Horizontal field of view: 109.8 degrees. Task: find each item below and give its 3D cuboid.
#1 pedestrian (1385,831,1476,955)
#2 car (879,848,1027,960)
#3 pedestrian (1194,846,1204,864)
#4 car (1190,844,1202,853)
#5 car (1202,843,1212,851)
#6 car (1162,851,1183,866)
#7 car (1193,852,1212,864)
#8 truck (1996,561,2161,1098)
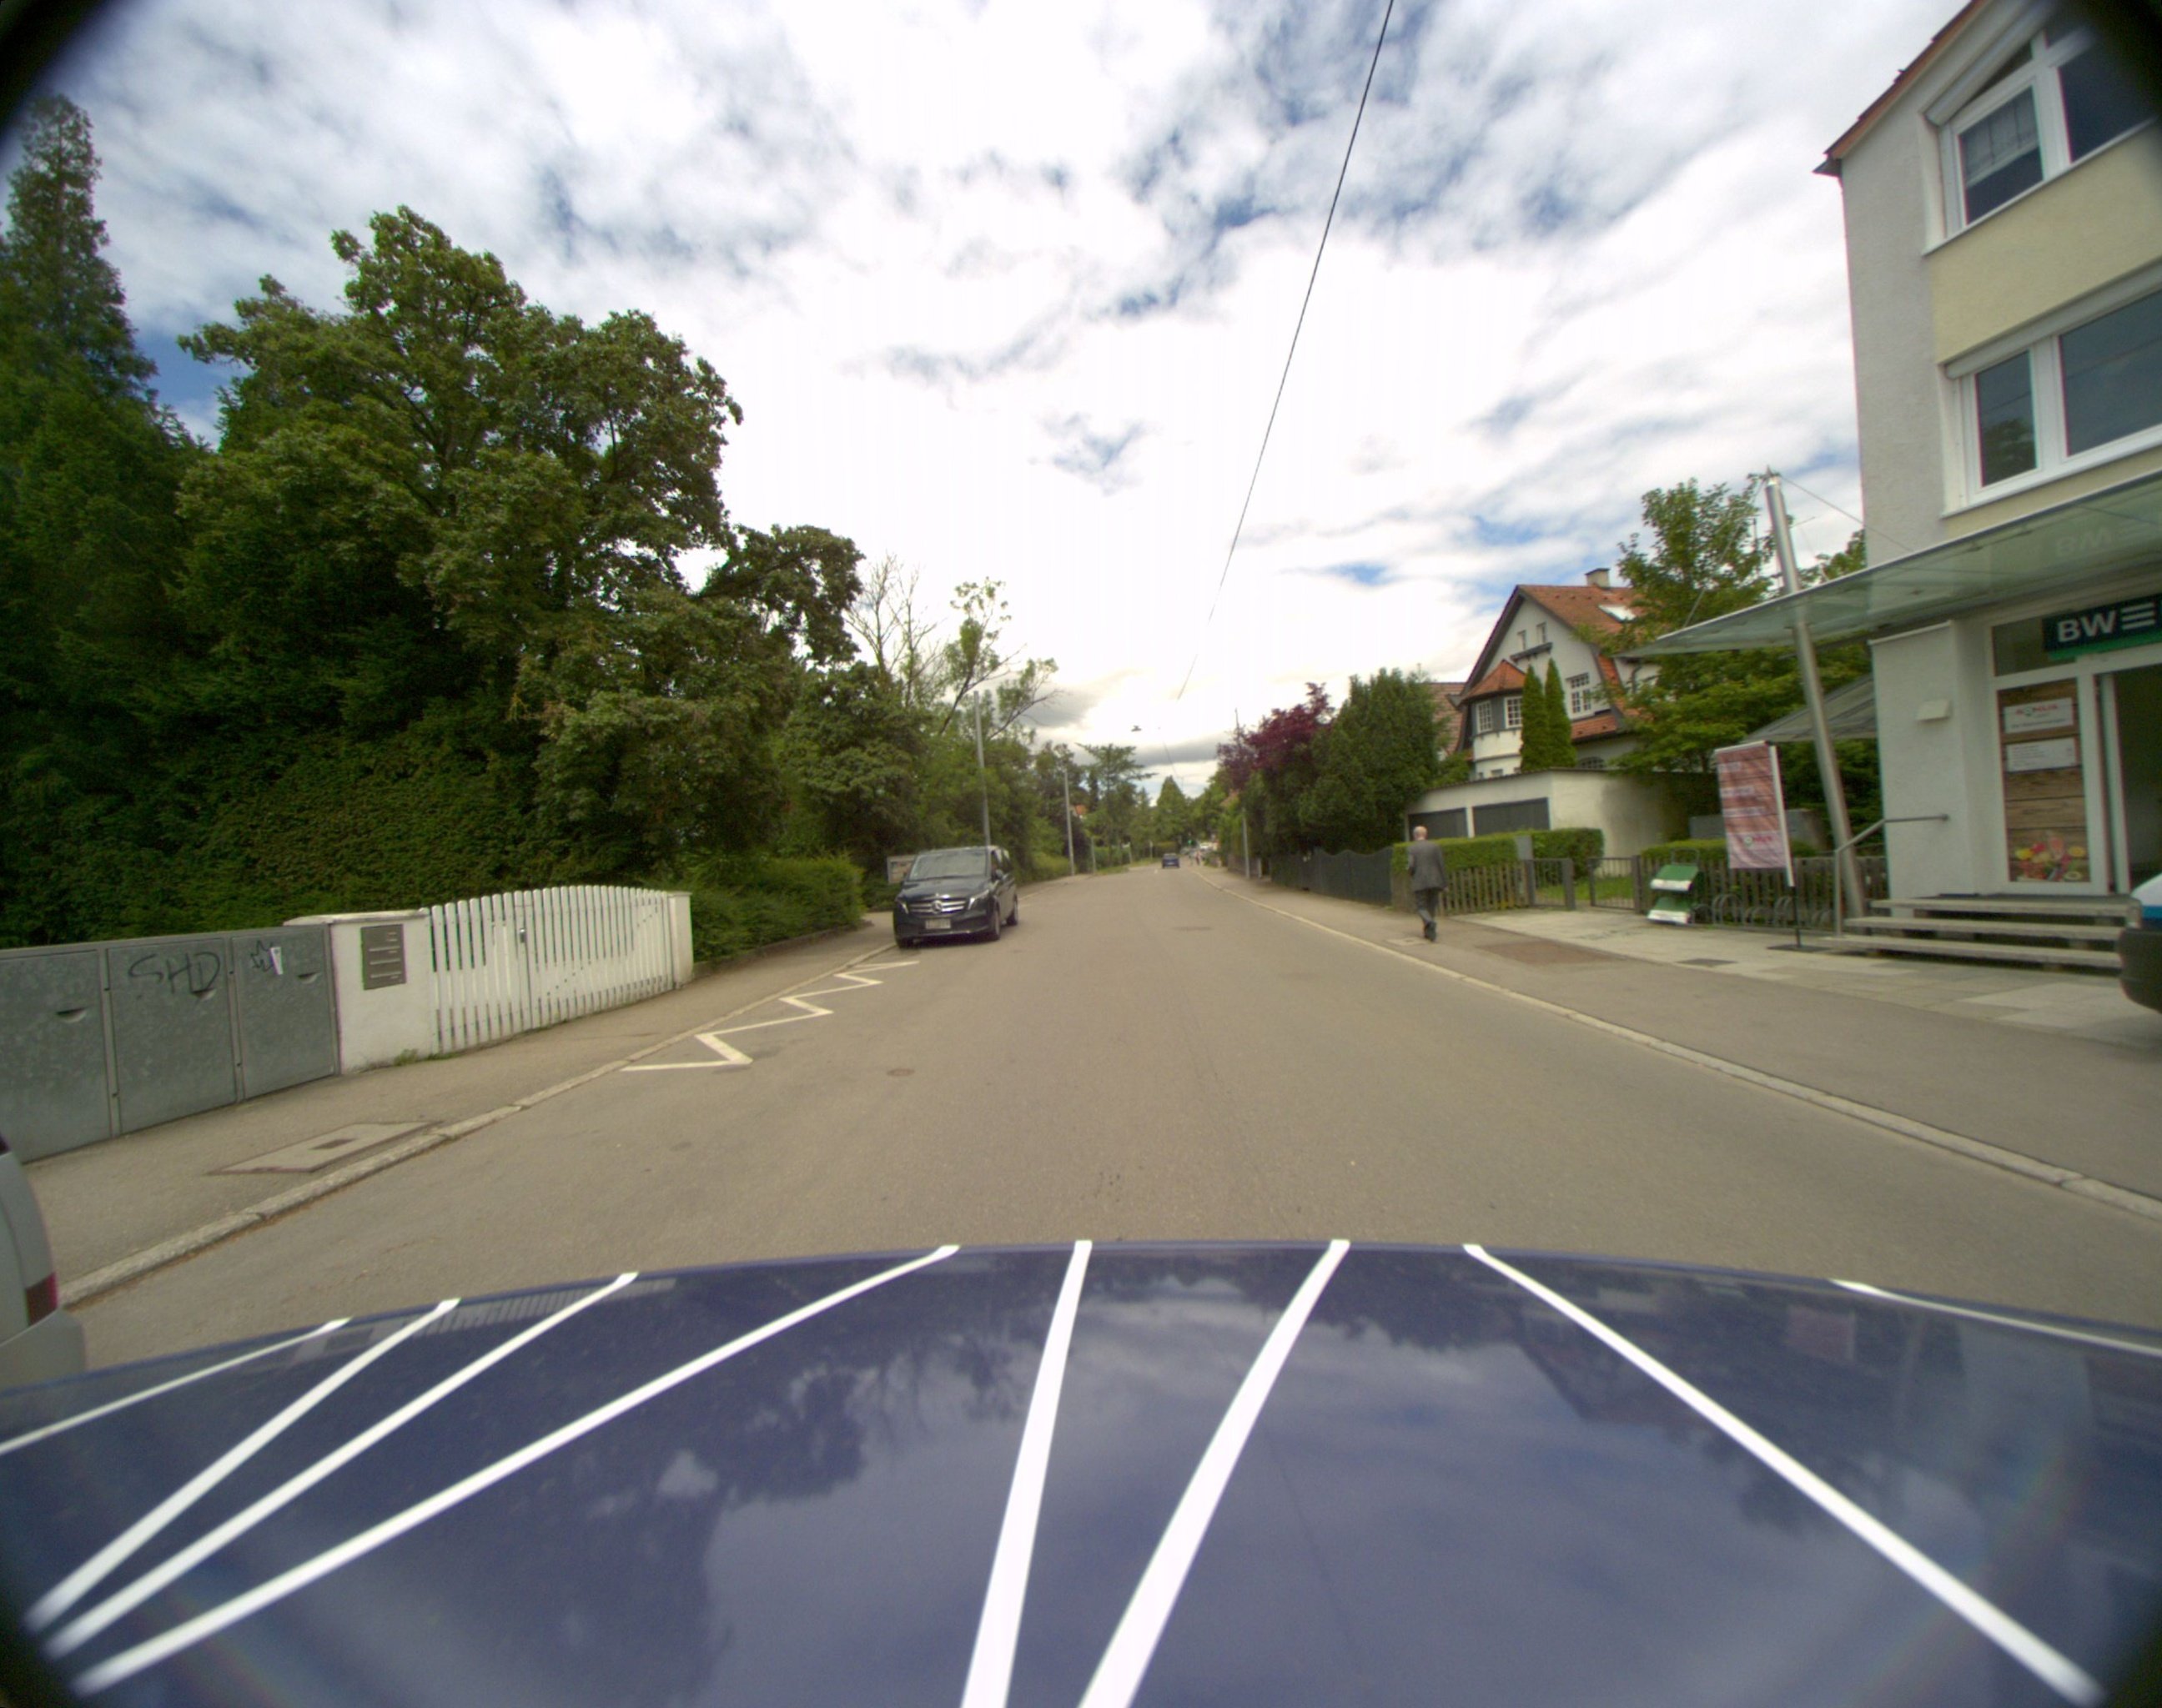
[{"bbox_3d":[5.108,0.543,11.186,0.724,1.677,1.109,-6,1,2],"label":"pedestrian"},{"bbox_3d":[-2.427,0.855,15.850,1.913,1.837,5.158,-4,0,2],"label":"car"},{"bbox_3d":[12.020,0.106,77.317,0.821,1.734,0.604,-5,1,8],"label":"pedestrian"},{"bbox_3d":[19.817,-0.978,131.267,1.844,1.646,4.139,-1,1,5],"label":"car"},{"bbox_3d":[28.902,-1.599,174.383,1.998,1.686,4.001,-6,0,7],"label":"car"},{"bbox_3d":[9.115,0.429,75.653,1.697,1.423,3.930,-3,0,11],"label":"car"},{"bbox_3d":[15.964,0.523,99.563,1.821,1.343,3.395,-5,0,18],"label":"car"},{"bbox_3d":[7.049,-0.187,1.348,2.480,2.824,6.705,-4,0,-3],"label":"truck"}]
